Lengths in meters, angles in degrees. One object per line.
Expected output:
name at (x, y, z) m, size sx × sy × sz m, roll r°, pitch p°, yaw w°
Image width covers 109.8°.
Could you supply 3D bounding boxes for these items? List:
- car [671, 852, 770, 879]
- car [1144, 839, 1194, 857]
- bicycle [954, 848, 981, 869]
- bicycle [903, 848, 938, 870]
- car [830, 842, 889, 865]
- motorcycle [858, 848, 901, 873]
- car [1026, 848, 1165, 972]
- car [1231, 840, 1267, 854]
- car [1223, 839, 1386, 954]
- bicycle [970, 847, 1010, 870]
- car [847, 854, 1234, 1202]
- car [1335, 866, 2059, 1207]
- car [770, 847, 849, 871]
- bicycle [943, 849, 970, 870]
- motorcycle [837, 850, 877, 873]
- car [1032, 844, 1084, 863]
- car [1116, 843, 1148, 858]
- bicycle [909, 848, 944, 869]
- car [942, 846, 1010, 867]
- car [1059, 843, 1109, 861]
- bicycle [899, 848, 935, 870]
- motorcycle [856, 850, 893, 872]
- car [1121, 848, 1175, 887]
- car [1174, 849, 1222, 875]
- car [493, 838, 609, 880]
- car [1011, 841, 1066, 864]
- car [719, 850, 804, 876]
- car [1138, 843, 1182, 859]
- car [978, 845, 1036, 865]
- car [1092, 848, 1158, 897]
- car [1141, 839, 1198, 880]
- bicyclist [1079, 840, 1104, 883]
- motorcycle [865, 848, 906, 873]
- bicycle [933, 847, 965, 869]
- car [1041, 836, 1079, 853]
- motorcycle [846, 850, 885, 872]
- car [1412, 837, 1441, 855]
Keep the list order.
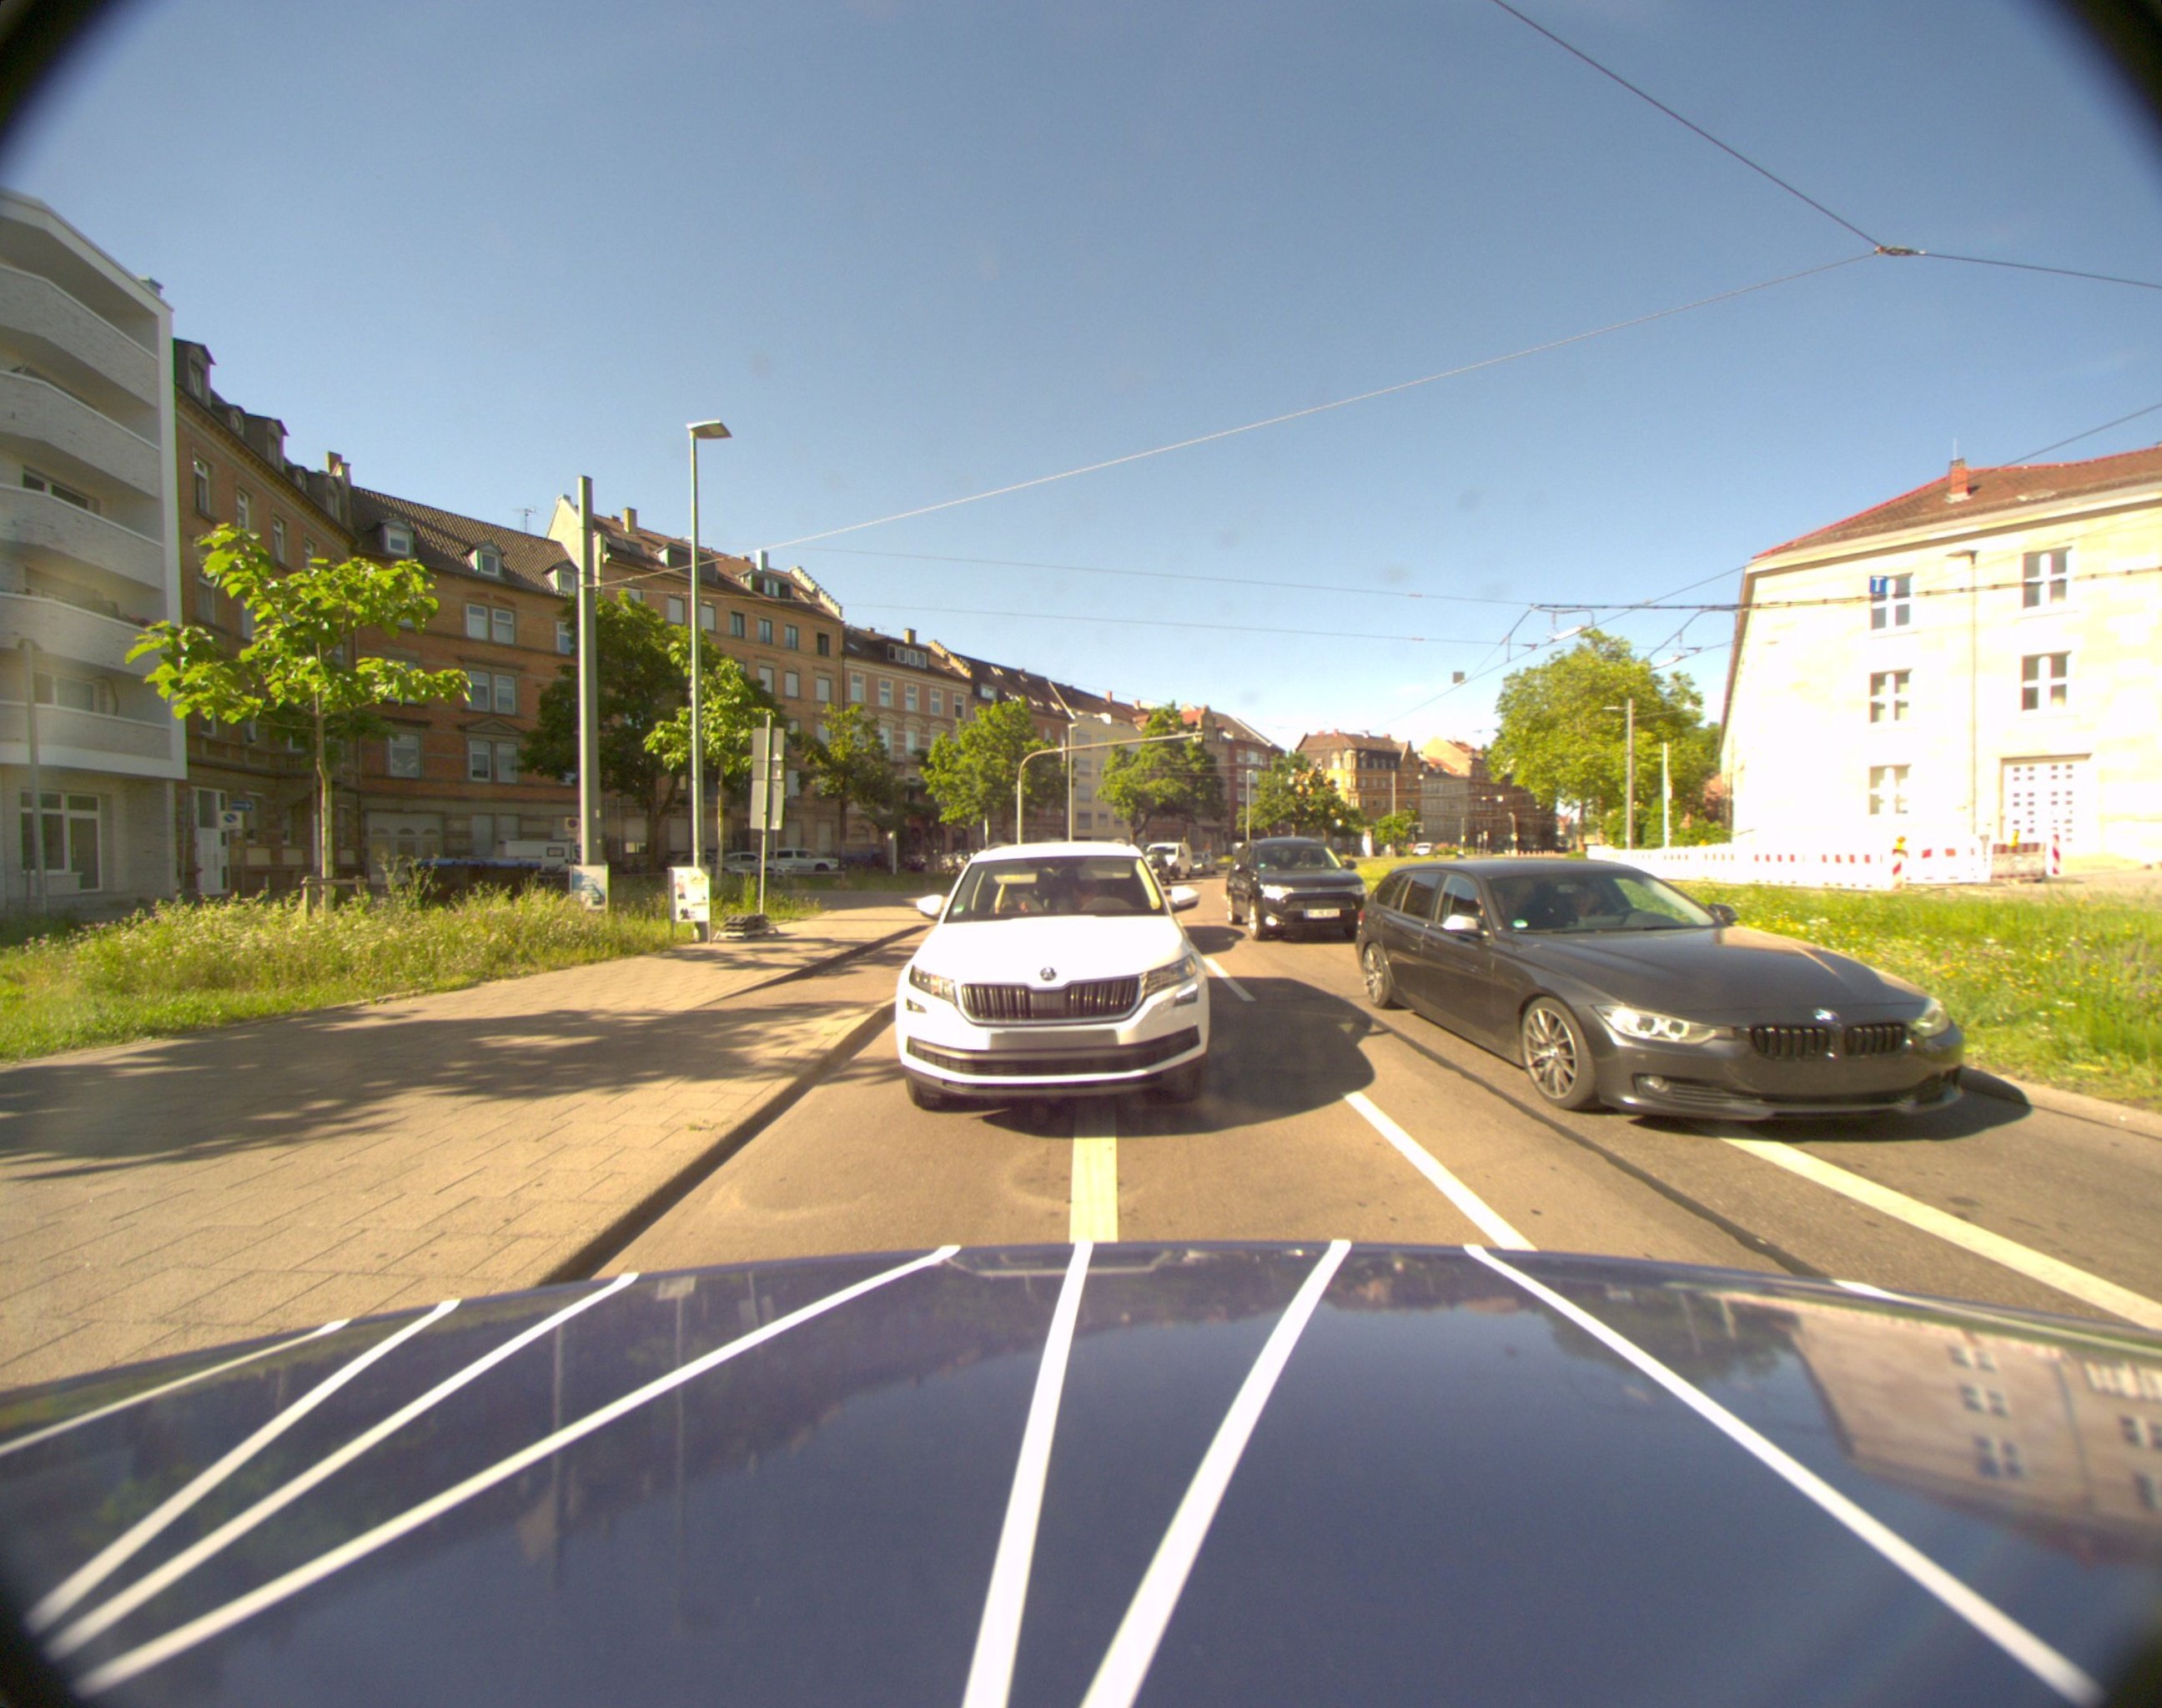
car at (-17.501, 0.532, 36.897) m, size 4.156 × 1.244 × 1.683 m, roll 0°, pitch 1°, yaw 13°
car at (8.200, -0.586, 70.597) m, size 4.578 × 1.658 × 1.600 m, roll 0°, pitch 1°, yaw 7°
bicycle at (-7.123, 0.308, 47.743) m, size 0.664 × 1.260 × 2.199 m, roll -3°, pitch 1°, yaw -36°
bicycle at (-9.707, 0.295, 45.998) m, size 2.198 × 1.260 × 0.664 m, roll -2°, pitch 1°, yaw 32°
car at (-15.610, -0.056, 53.661) m, size 1.547 × 1.578 × 3.709 m, roll 1°, pitch 2°, yaw 41°
motorcycle at (-11.179, 0.374, 42.197) m, size 2.200 × 1.322 × 0.663 m, roll -2°, pitch 1°, yaw 13°
car at (0.232, 0.761, 12.597) m, size 1.842 × 1.636 × 4.397 m, roll -2°, pitch 0°, yaw 1°
car at (18.698, -0.816, 84.646) m, size 3.823 × 1.581 × 1.600 m, roll 0°, pitch 1°, yaw 6°
car at (3.694, 0.625, 13.387) m, size 1.841 × 1.636 × 4.399 m, roll -2°, pitch 0°, yaw 5°
bicycle at (-5.476, 0.268, 45.728) m, size 2.207 × 1.260 × 0.662 m, roll -3°, pitch 1°, yaw -25°
car at (-0.232, 0.853, 5.938) m, size 1.842 × 1.636 × 4.397 m, roll -2°, pitch 0°, yaw -1°
car at (3.474, 0.849, 5.582) m, size 1.741 × 1.359 × 4.426 m, roll -2°, pitch 0°, yaw 1°
car at (-14.681, 0.255, 41.185) m, size 3.700 × 1.244 × 1.540 m, roll 0°, pitch 1°, yaw 2°
bicycle at (-7.686, 0.341, 46.749) m, size 0.664 × 1.260 × 2.199 m, roll -3°, pitch 1°, yaw -36°
motorcycle at (-13.289, 0.438, 45.009) m, size 2.314 × 1.270 × 0.664 m, roll -2°, pitch 1°, yaw 24°
car at (-1.775, -0.053, 58.701) m, size 3.823 × 1.398 × 1.600 m, roll 0°, pitch 1°, yaw 6°
car at (5.472, -0.419, 80.716) m, size 1.547 × 1.578 × 3.607 m, roll 1°, pitch 2°, yaw 41°
bicycle at (-9.510, 0.279, 46.701) m, size 2.198 × 1.260 × 0.664 m, roll -2°, pitch 1°, yaw 32°
car at (-7.043, 0.176, 51.285) m, size 4.322 × 1.398 × 1.682 m, roll 0°, pitch 1°, yaw 3°
car at (0.262, -0.158, 61.153) m, size 3.823 × 1.398 × 1.600 m, roll 0°, pitch 1°, yaw 6°
bicycle at (-9.743, 0.306, 45.060) m, size 2.198 × 1.260 × 0.664 m, roll -2°, pitch 1°, yaw 30°
motorcycle at (-12.602, 0.401, 46.394) m, size 2.199 × 1.260 × 0.664 m, roll -2°, pitch 1°, yaw 24°
car at (3.122, 0.557, 34.854) m, size 1.837 × 1.637 × 4.152 m, roll 0°, pitch 1°, yaw 14°
car at (7.290, 0.434, 46.964) m, size 1.836 × 1.464 × 4.720 m, roll 0°, pitch 1°, yaw 22°
car at (-27.119, 0.215, 39.001) m, size 2.047 × 2.026 × 4.510 m, roll 1°, pitch 2°, yaw 41°
car at (-3.107, -0.136, 56.093) m, size 3.825 × 1.698 × 1.682 m, roll 0°, pitch 1°, yaw 3°
car at (-16.408, 0.439, 39.096) m, size 3.696 × 1.244 × 1.683 m, roll 0°, pitch 1°, yaw 13°
car at (7.128, -0.246, 68.167) m, size 3.823 × 1.372 × 1.600 m, roll 0°, pitch 1°, yaw 9°
car at (-5.226, 0.088, 53.954) m, size 3.822 × 1.398 × 1.683 m, roll 0°, pitch 1°, yaw 9°
car at (1.641, 0.598, 26.946) m, size 1.838 × 1.543 × 4.151 m, roll 0°, pitch 1°, yaw 10°
car at (4.851, 0.244, 40.990) m, size 1.979 × 2.074 × 4.719 m, roll 0°, pitch 1°, yaw 21°
bicyclist at (0.507, 0.357, 36.205) m, size 0.848 × 2.002 × 1.197 m, roll -1°, pitch 1°, yaw 15°
motorcycle at (-11.149, 0.357, 43.283) m, size 2.200 × 1.315 × 0.664 m, roll -2°, pitch 1°, yaw 18°
bicycle at (-7.729, 0.240, 44.507) m, size 0.664 × 1.260 × 2.198 m, roll -3°, pitch 1°, yaw -45°
car at (-1.937, -0.940, 71.654) m, size 1.547 × 1.578 × 3.607 m, roll 1°, pitch 2°, yaw 41°
motorcycle at (-12.940, 0.415, 45.615) m, size 2.314 × 1.276 × 0.664 m, roll -2°, pitch 1°, yaw 24°
car at (39.700, -0.963, 87.244) m, size 1.994 × 1.864 × 4.599 m, roll -1°, pitch 1°, yaw 37°
